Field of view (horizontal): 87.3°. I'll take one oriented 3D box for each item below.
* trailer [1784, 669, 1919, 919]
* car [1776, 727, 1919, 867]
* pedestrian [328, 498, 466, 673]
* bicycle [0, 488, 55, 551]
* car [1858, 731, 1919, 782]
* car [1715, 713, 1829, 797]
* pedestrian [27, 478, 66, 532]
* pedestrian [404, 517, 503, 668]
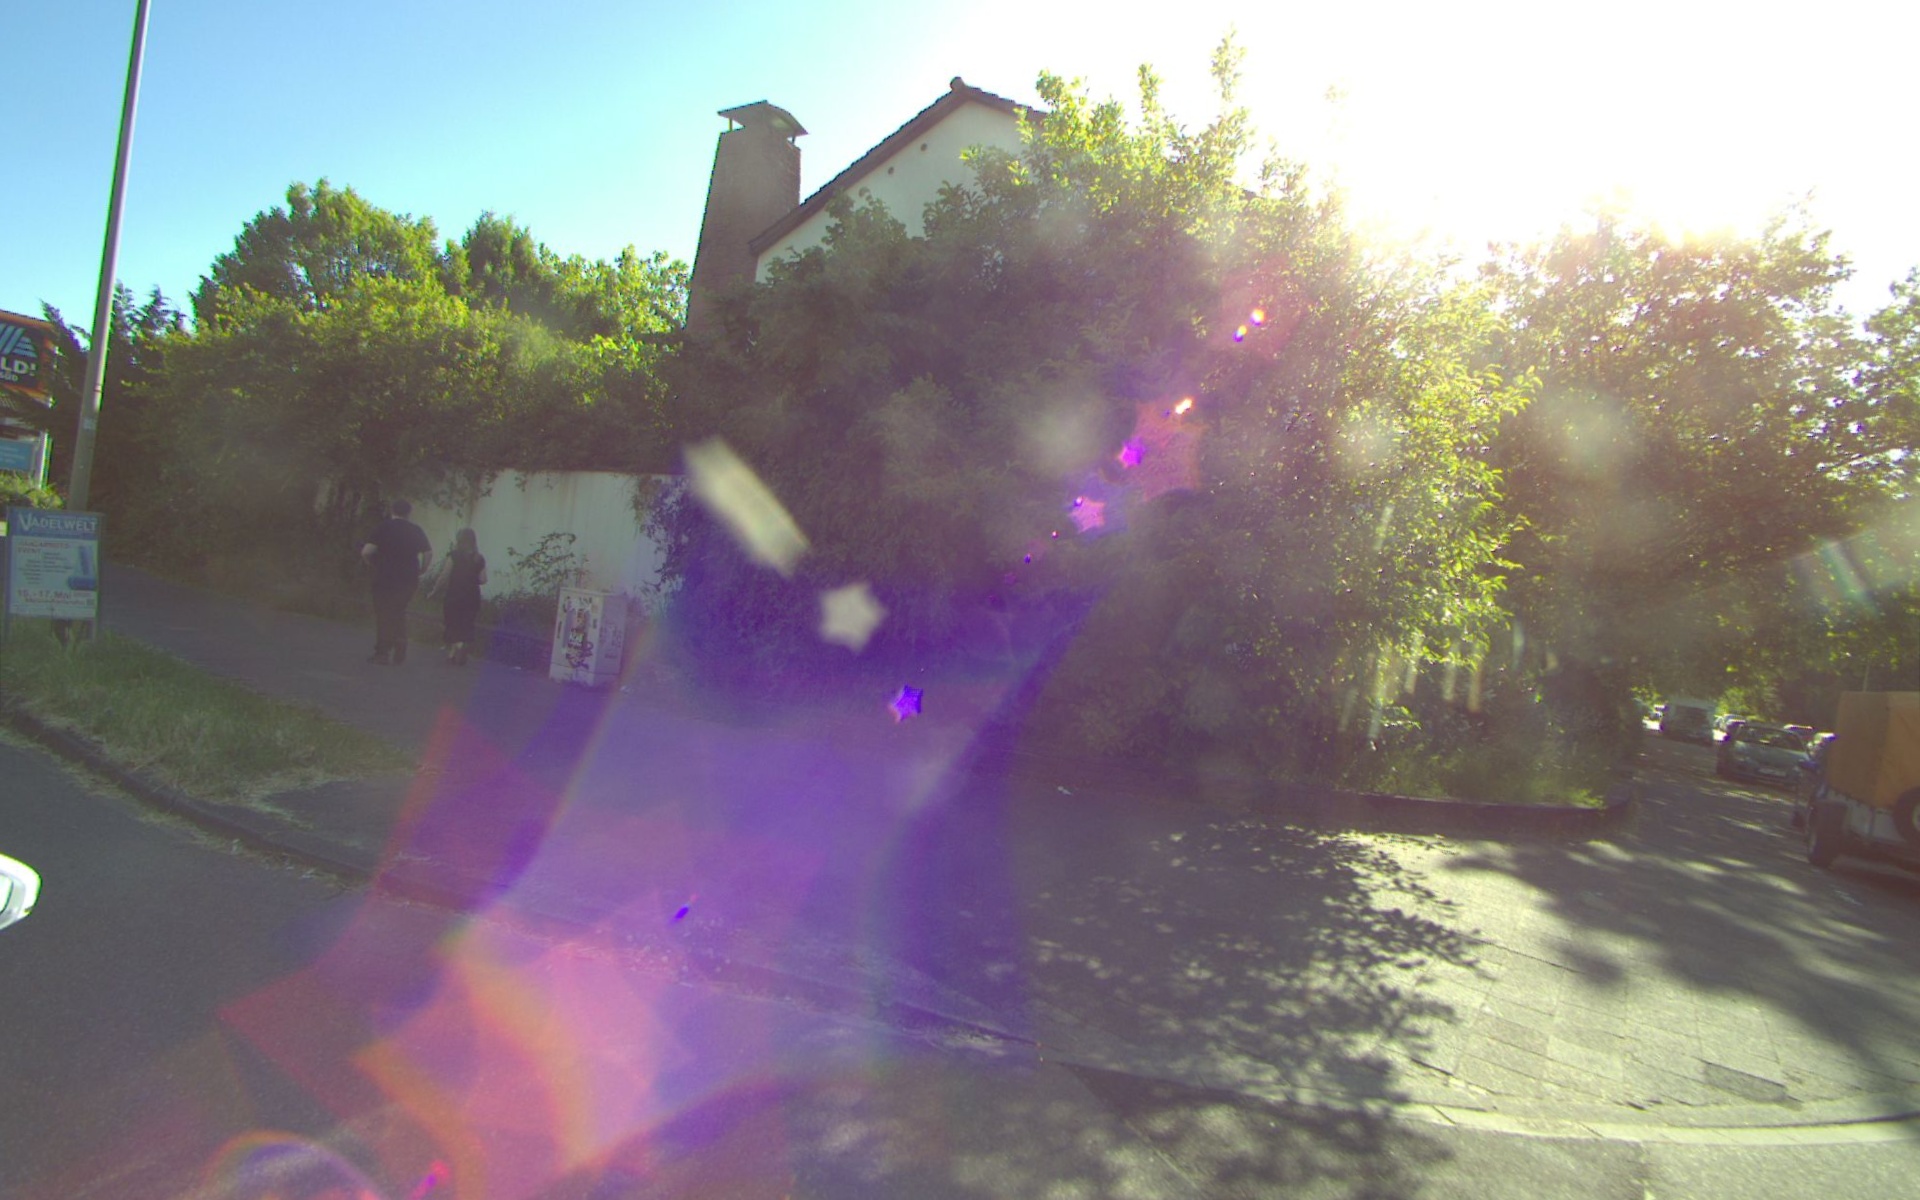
[{"bbox_3d":[10.116,1.972,10.302,1.946,2.146,4.064,9,0,34],"label":"trailer"},{"bbox_3d":[13.173,2.765,14.446,1.860,1.530,3.919,6,-1,35],"label":"car"},{"bbox_3d":[-5.982,-0.146,10.698,0.967,1.739,0.804,6,1,31],"label":"pedestrian"},{"bbox_3d":[-20.249,-1.730,21.852,0.717,1.236,1.875,5,1,-39],"label":"bicycle"},{"bbox_3d":[37.596,6.269,40.122,2.034,1.671,3.989,7,-1,36],"label":"car"},{"bbox_3d":[20.634,3.864,25.720,1.845,1.671,3.989,7,-1,36],"label":"car"},{"bbox_3d":[-29.596,-3.068,32.615,0.687,1.651,0.769,7,1,-34],"label":"pedestrian"},{"bbox_3d":[-5.755,-0.085,11.430,0.779,1.630,0.573,6,1,31],"label":"pedestrian"}]
